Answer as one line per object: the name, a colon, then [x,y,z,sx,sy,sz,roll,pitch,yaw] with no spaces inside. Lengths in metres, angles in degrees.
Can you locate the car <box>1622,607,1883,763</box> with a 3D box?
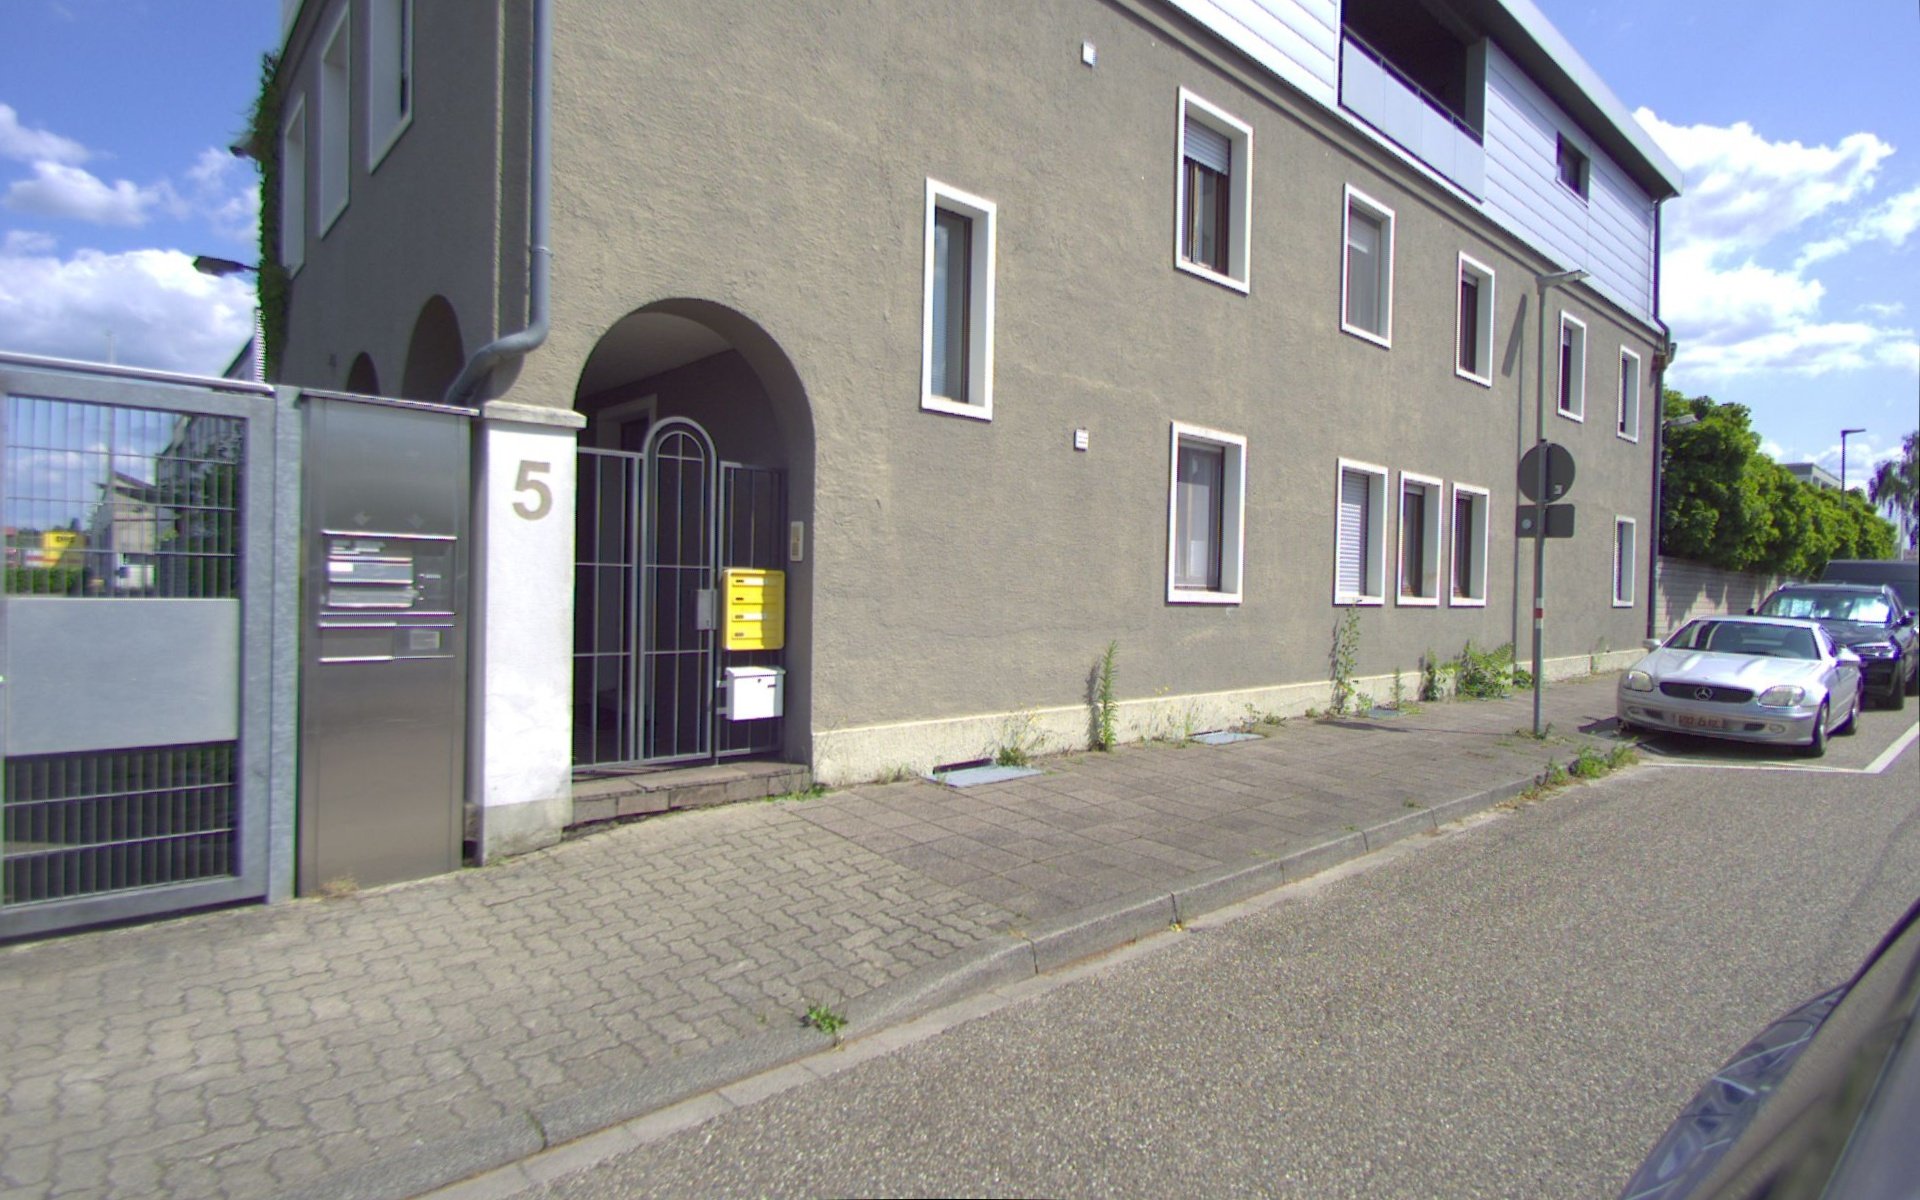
car: [8.785,0.781,11.100,3.932,1.349,1.655,0,1,-43]

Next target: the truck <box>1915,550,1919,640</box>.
truck: [33.326,-0.125,33.117,6.263,2.839,2.401,0,1,-41]

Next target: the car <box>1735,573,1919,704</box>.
car: [13.358,0.483,15.318,3.933,1.708,1.995,0,1,-44]

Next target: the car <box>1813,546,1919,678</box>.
car: [18.261,0.221,19.715,4.340,2.331,1.996,1,2,-44]

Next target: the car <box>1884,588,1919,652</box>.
car: [27.305,0.524,28.105,3.930,1.703,1.997,-1,0,-41]
